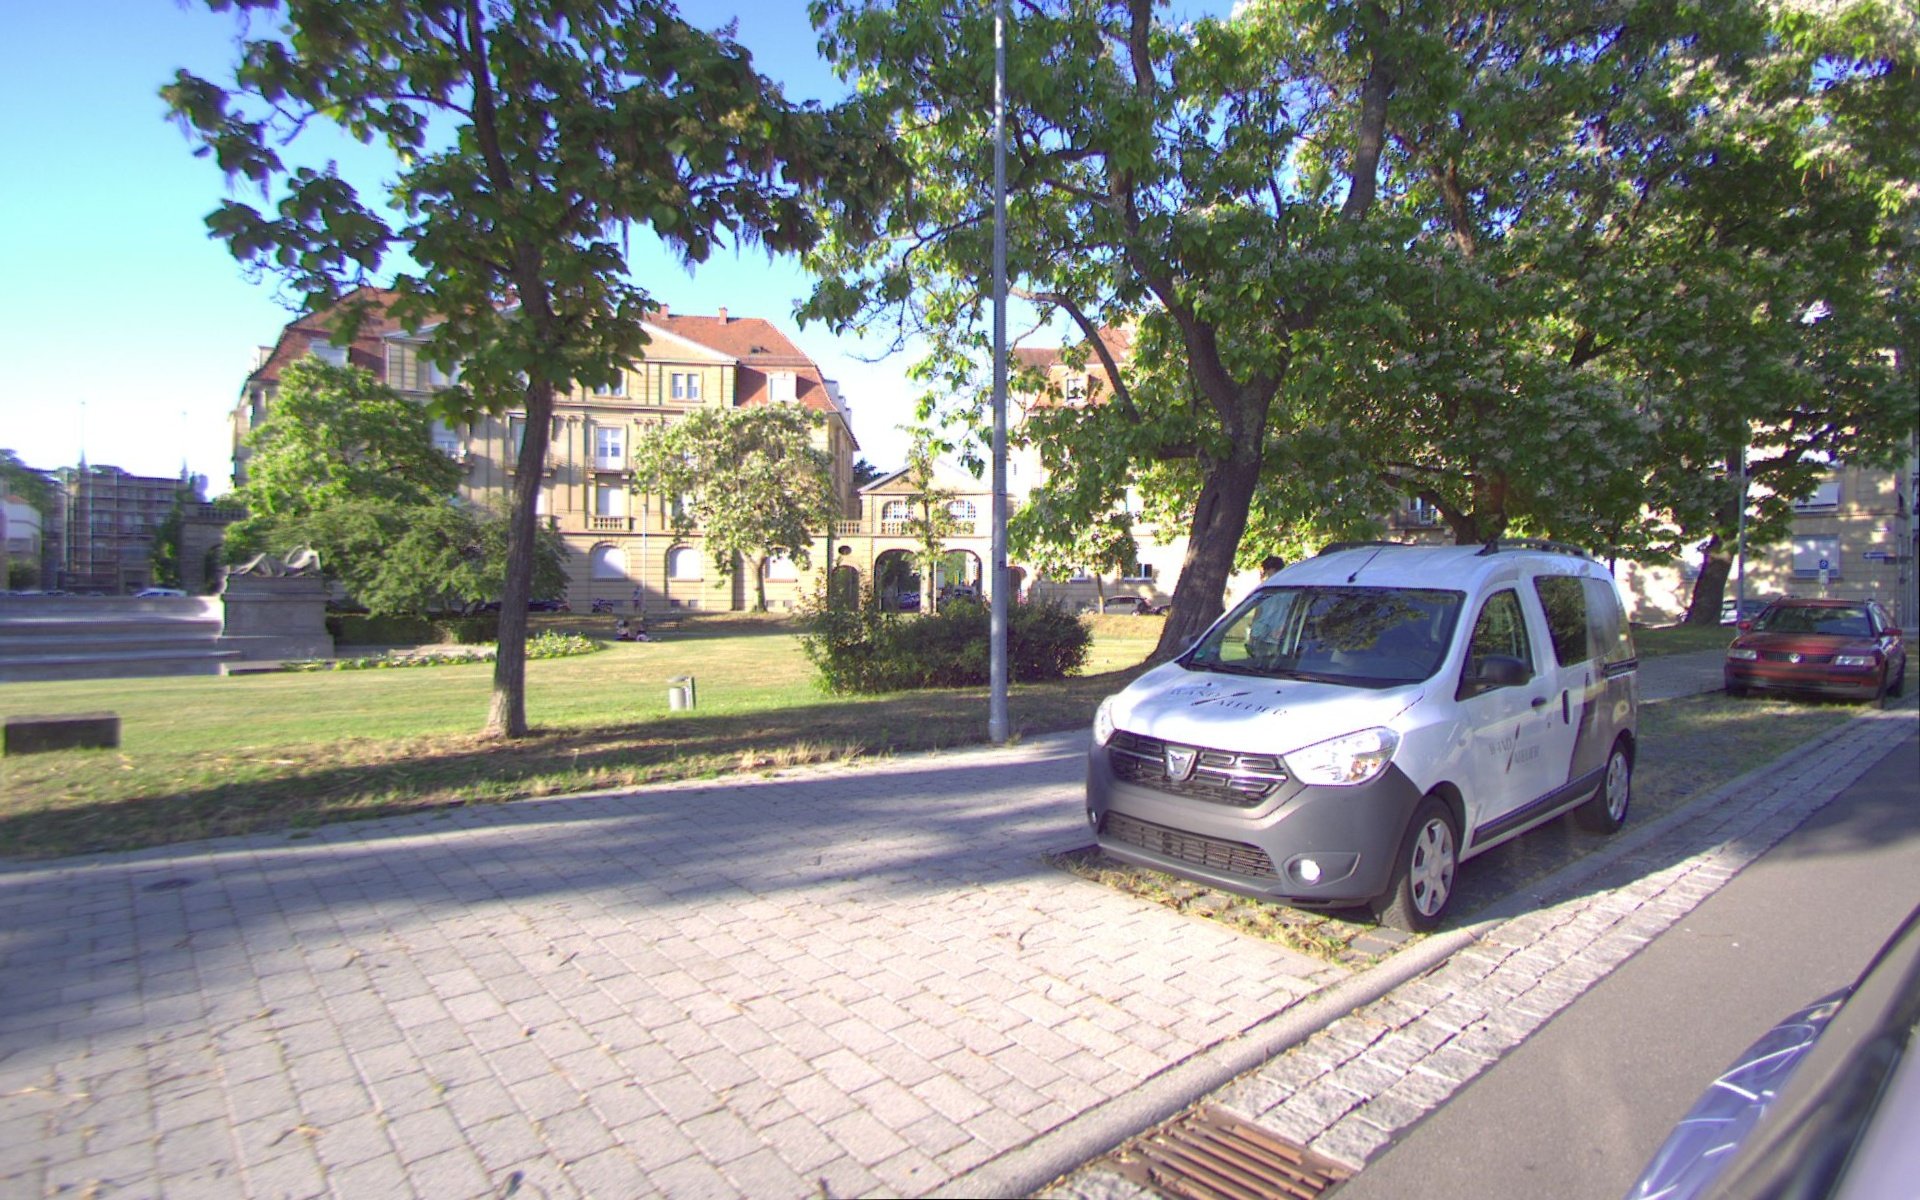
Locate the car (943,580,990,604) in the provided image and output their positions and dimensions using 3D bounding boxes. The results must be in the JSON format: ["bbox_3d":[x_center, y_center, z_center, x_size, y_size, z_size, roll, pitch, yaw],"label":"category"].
[{"bbox_3d":[0.592,-0.751,93.804,4.285,2.134,1.821,0,1,-3],"label":"car"}]

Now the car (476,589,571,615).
[{"bbox_3d":[-25.268,0.102,58.756,4.845,1.435,1.823,0,1,-16],"label":"car"}]

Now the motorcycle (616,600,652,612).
[{"bbox_3d":[-18.594,0.337,57.671,1.825,0.679,0.682,-1,1,-39],"label":"motorcycle"}]

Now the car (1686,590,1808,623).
[{"bbox_3d":[37.811,0.278,48.681,4.440,1.436,1.905,1,1,45],"label":"car"}]

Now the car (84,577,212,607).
[{"bbox_3d":[-40.630,-0.431,50.794,4.854,1.435,1.820,-1,1,-34],"label":"car"}]

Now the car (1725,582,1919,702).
[{"bbox_3d":[12.927,0.489,14.966,4.727,1.504,1.681,-1,1,-42],"label":"car"}]

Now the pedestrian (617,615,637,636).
[{"bbox_3d":[-14.364,1.109,43.666,0.664,0.892,0.578,-1,-1,-3],"label":"pedestrian"}]

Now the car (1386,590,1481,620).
[{"bbox_3d":[24.394,0.235,52.204,4.329,1.435,1.826,1,1,30],"label":"car"}]

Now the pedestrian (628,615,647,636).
[{"bbox_3d":[-14.279,1.118,44.803,0.664,0.892,0.578,-1,-1,-3],"label":"pedestrian"}]

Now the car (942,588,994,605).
[{"bbox_3d":[0.653,-0.286,87.519,4.283,1.435,1.822,0,1,-6],"label":"car"}]

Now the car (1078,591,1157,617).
[{"bbox_3d":[9.231,0.235,59.286,4.316,1.435,1.808,0,1,20],"label":"car"}]

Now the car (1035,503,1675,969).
[{"bbox_3d":[2.580,0.477,5.938,4.436,1.761,1.681,-1,1,-42],"label":"car"}]

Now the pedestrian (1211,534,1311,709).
[{"bbox_3d":[3.174,0.220,10.673,0.719,1.758,0.726,0,-1,-40],"label":"pedestrian"}]

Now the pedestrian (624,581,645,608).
[{"bbox_3d":[-18.553,-0.311,57.693,0.933,1.493,0.682,0,1,-39],"label":"pedestrian"}]

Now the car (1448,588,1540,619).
[{"bbox_3d":[29.436,0.182,55.838,4.419,1.620,1.783,1,1,32],"label":"car"}]
